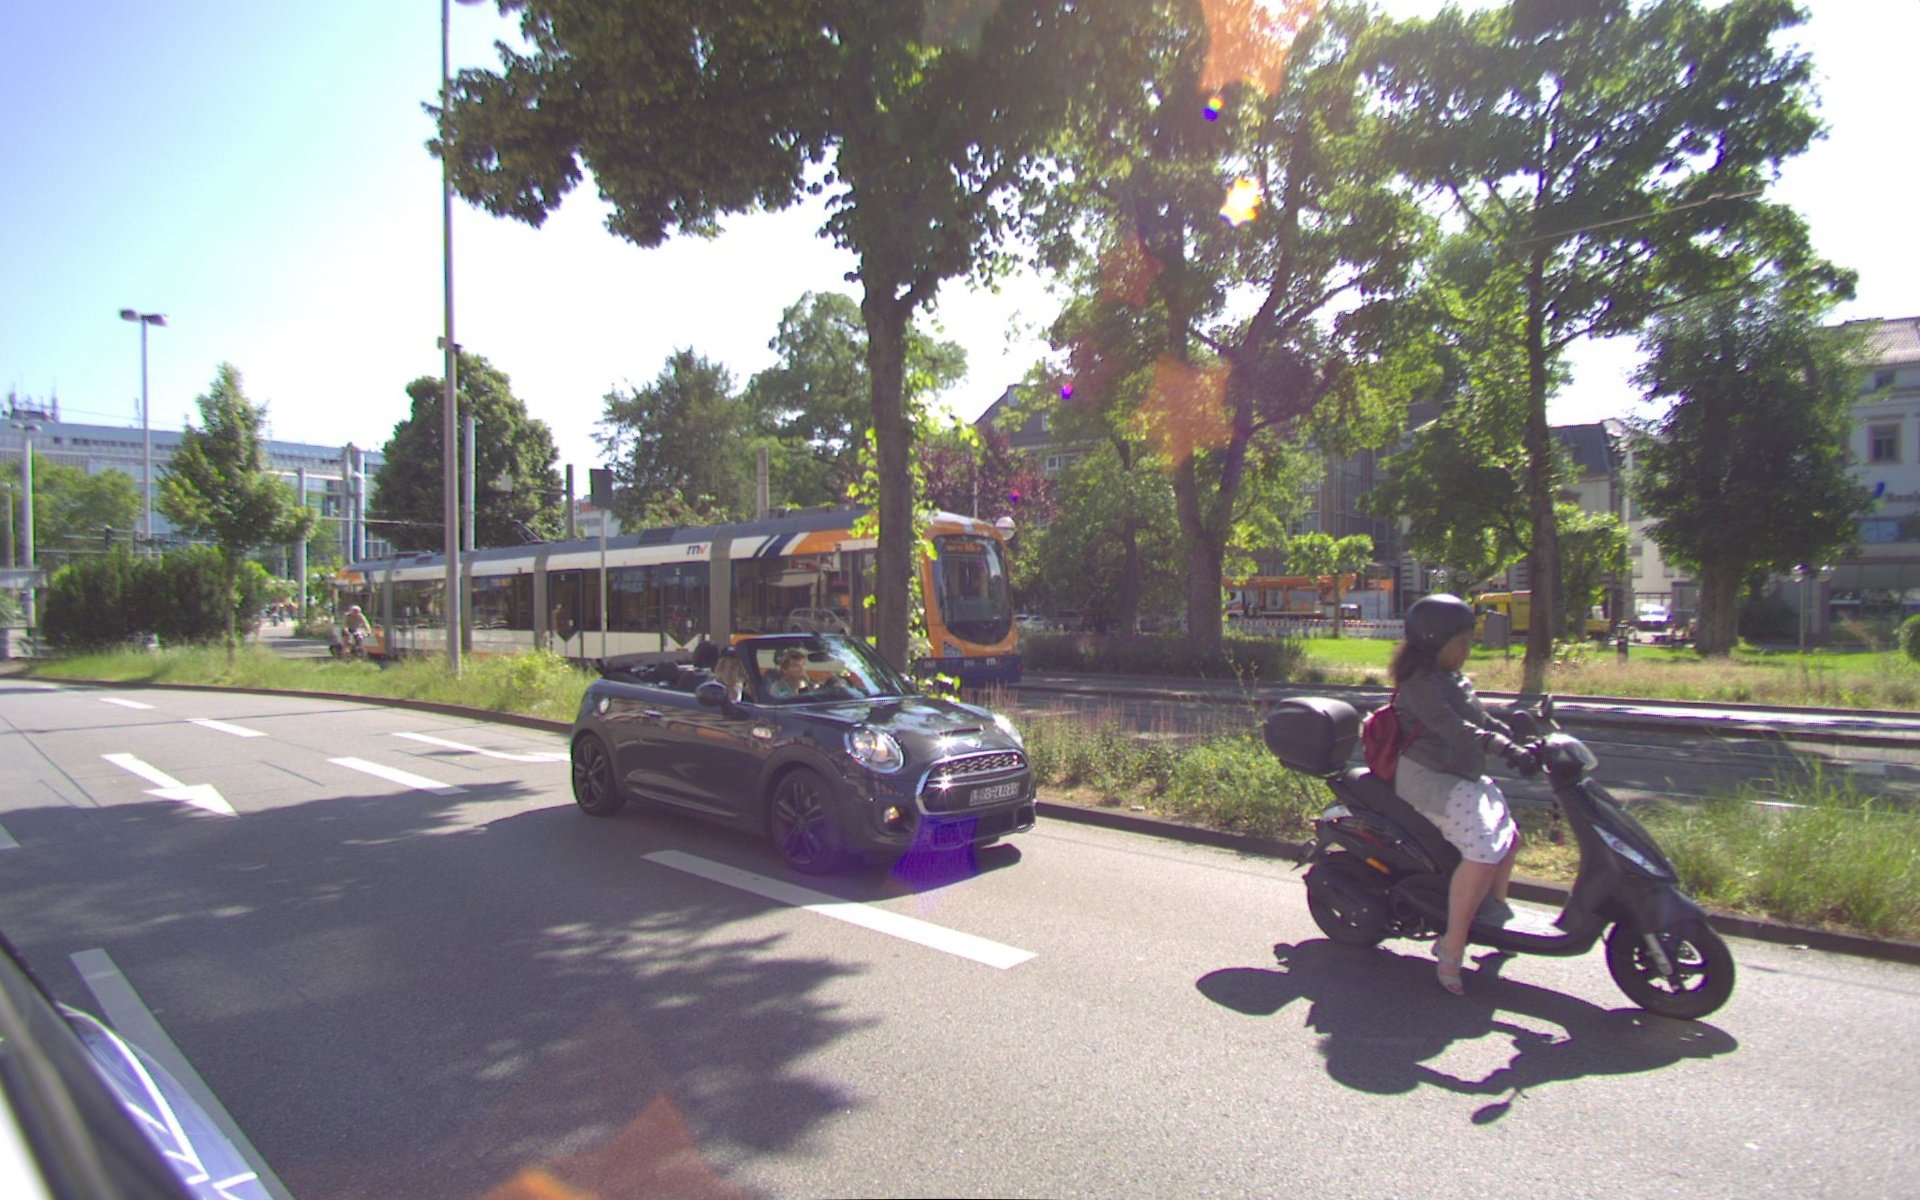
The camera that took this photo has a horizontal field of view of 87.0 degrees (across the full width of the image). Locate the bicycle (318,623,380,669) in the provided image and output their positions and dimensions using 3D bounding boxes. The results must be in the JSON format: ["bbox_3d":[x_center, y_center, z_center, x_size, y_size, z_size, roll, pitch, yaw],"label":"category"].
[{"bbox_3d":[-15.778,1.167,26.091,2.495,1.091,0.635,0,0,41],"label":"bicycle"}]

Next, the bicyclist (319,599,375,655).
[{"bbox_3d":[-15.845,0.688,26.151,1.232,1.404,0.901,-1,-1,41],"label":"bicyclist"}]

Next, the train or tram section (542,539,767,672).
[{"bbox_3d":[-9.140,0.222,29.540,8.528,3.415,2.045,-2,-1,41],"label":"train or tram section"}]

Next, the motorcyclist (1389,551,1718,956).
[{"bbox_3d":[2.399,0.527,4.091,0.992,1.369,0.891,-1,-1,41],"label":"motorcyclist"}]

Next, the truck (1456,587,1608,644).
[{"bbox_3d":[33.905,0.927,60.192,7.641,3.239,2.435,-1,-1,37],"label":"truck"}]

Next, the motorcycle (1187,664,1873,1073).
[{"bbox_3d":[2.235,0.905,4.268,2.352,1.172,0.891,-1,-1,41],"label":"motorcycle"}]

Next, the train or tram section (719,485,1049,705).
[{"bbox_3d":[-1.552,-0.031,18.701,5.883,3.429,2.731,-1,-1,41],"label":"train or tram section"}]

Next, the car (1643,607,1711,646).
[{"bbox_3d":[40.090,1.455,56.711,1.985,2.029,4.526,-1,0,20],"label":"car"}]

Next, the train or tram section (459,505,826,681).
[{"bbox_3d":[-8.379,-0.039,24.888,12.409,3.429,2.730,-1,-1,42],"label":"train or tram section"}]

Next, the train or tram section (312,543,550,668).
[{"bbox_3d":[-17.678,0.248,33.113,12.407,3.429,2.730,-1,-1,42],"label":"train or tram section"}]

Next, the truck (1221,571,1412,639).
[{"bbox_3d":[24.209,0.418,69.265,11.787,4.295,3.588,-1,-1,36],"label":"truck"}]

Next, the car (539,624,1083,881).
[{"bbox_3d":[-1.218,0.844,7.117,3.912,1.318,1.616,-1,-3,41],"label":"car"}]
